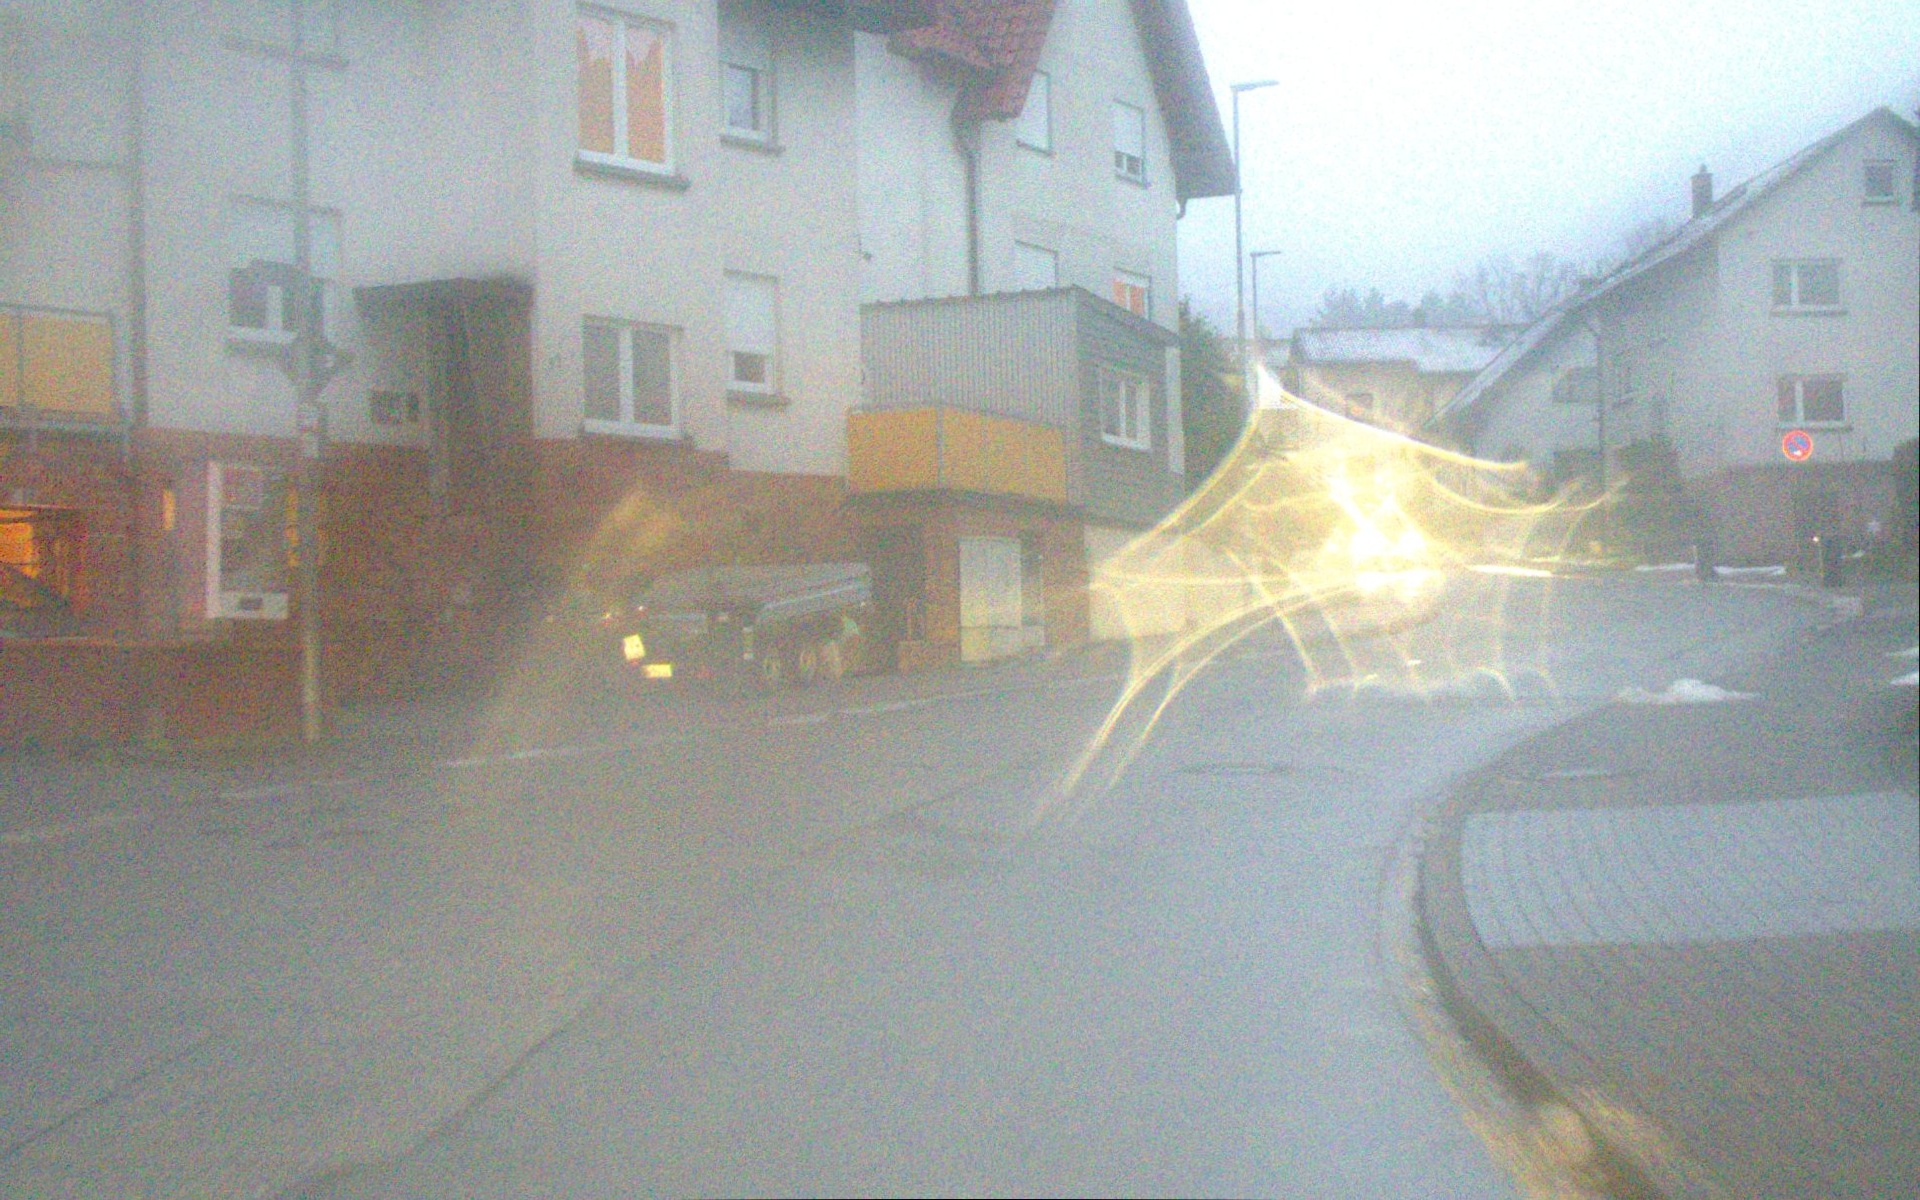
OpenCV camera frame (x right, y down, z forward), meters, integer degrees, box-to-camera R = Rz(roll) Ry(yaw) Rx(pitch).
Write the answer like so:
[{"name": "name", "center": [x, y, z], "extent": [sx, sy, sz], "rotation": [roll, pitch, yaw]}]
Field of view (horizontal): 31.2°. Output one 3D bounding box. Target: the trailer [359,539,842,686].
[{"name": "trailer", "center": [-3.334, 0.067, 32.947], "extent": [2.062, 1.164, 4.860], "rotation": [1, 3, 31]}]

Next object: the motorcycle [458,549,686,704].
[{"name": "motorcycle", "center": [-3.446, 0.209, 30.361], "extent": [1.054, 1.294, 2.238], "rotation": [-1, 2, -35]}]

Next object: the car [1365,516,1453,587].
[{"name": "car", "center": [13.601, -1.488, 103.893], "extent": [2.111, 2.020, 4.980], "rotation": [-2, 1, 13]}]

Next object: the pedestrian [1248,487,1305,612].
[{"name": "pedestrian", "center": [4.420, -0.695, 47.961], "extent": [0.598, 1.727, 0.811], "rotation": [0, 0, 20]}]
